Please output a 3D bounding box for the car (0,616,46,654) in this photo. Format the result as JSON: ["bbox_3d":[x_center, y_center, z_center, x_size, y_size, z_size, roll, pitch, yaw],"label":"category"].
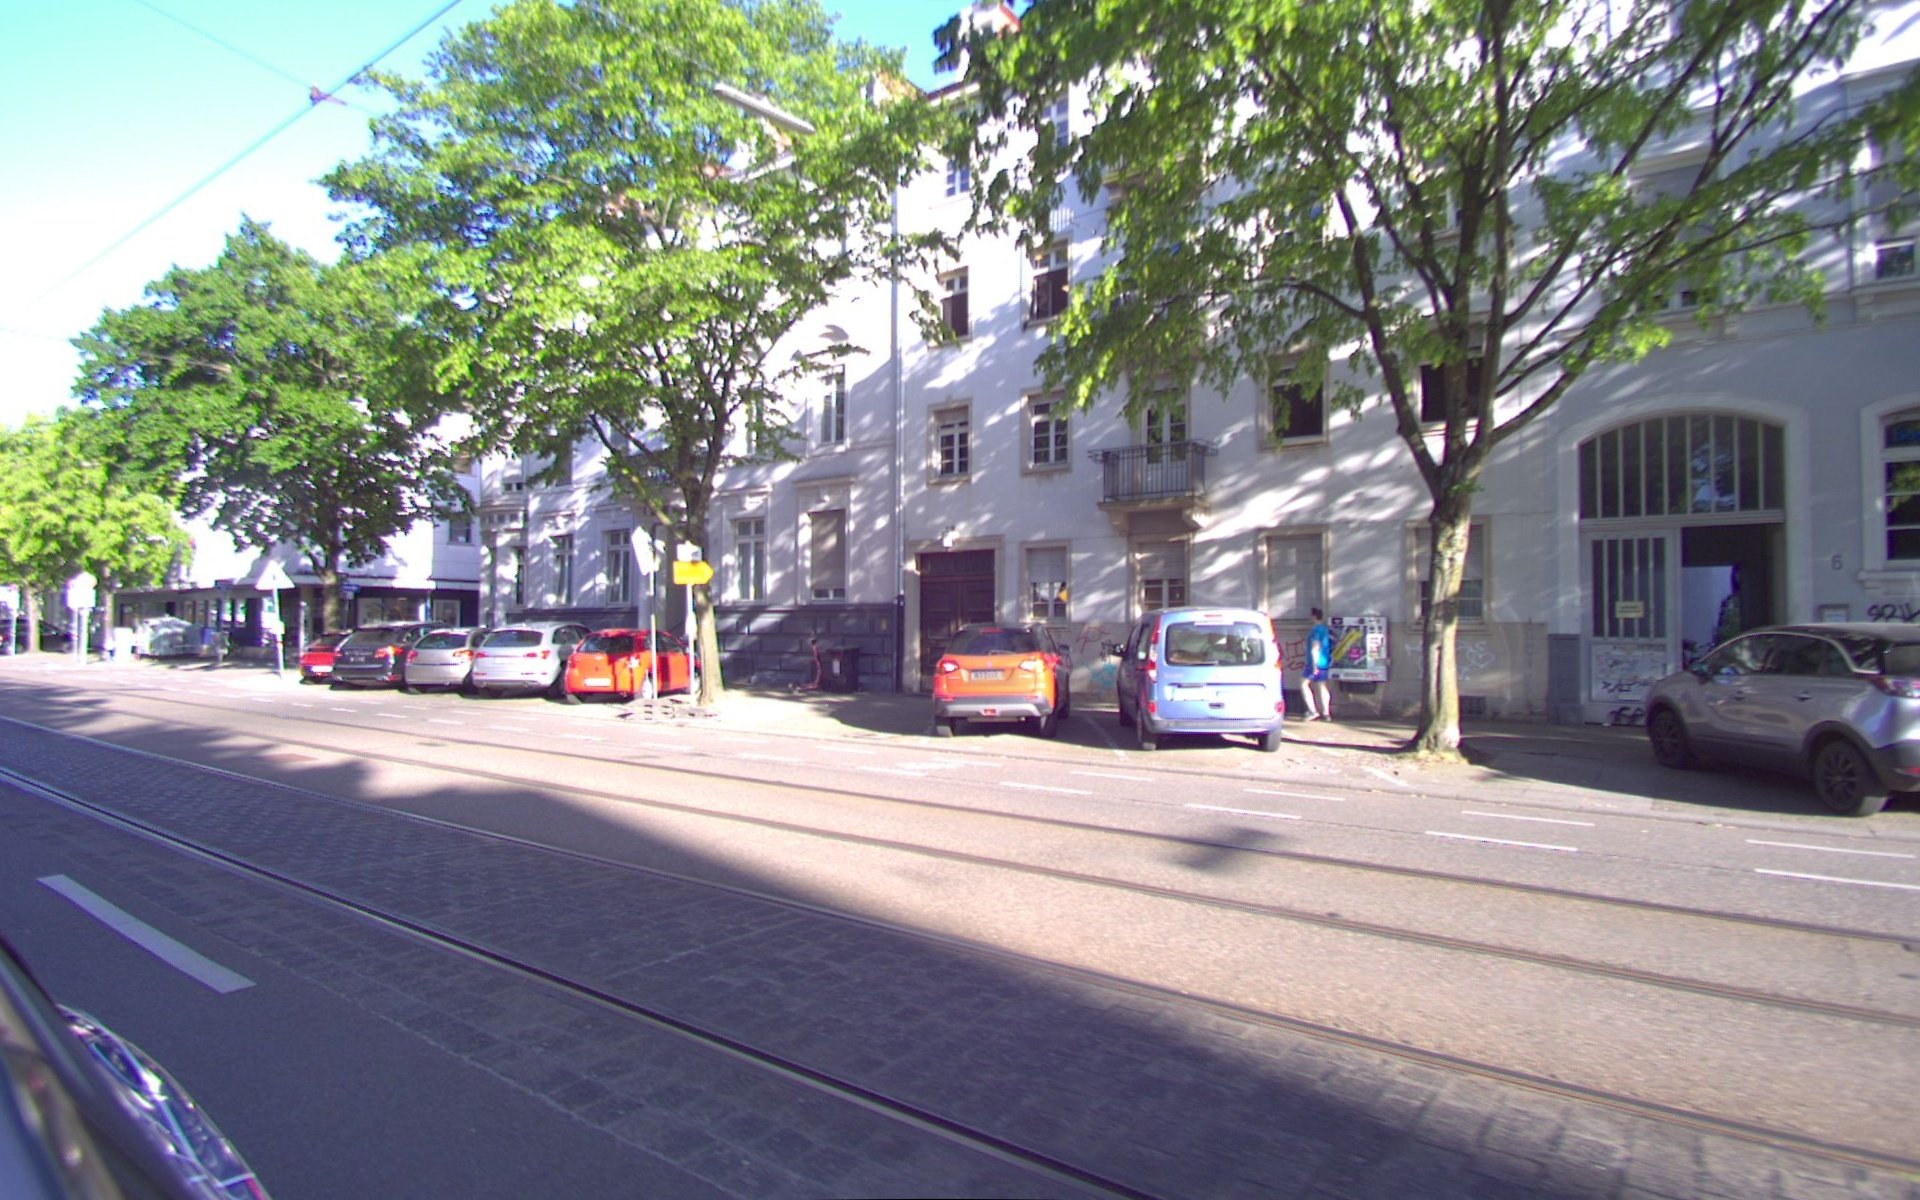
[{"bbox_3d":[-52.722,1.930,54.976,1.667,1.965,4.263,-1,0,31],"label":"car"}]

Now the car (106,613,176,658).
[{"bbox_3d":[-36.328,1.585,44.895,3.209,1.912,1.652,-1,-3,37],"label":"car"}]

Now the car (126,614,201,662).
[{"bbox_3d":[-33.290,1.588,42.304,3.209,1.912,1.652,-1,-3,37],"label":"car"}]

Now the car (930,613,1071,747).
[{"bbox_3d":[0.755,1.099,15.558,1.722,1.649,4.191,-2,0,8],"label":"car"}]

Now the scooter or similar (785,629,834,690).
[{"bbox_3d":[-3.489,1.361,23.414,1.285,1.368,0.396,-2,-3,42],"label":"scooter or similar"}]

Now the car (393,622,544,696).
[{"bbox_3d":[-11.895,1.379,24.779,1.726,1.531,3.762,0,1,3],"label":"car"}]

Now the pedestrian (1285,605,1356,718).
[{"bbox_3d":[5.616,0.938,15.767,0.870,1.709,0.635,-1,-3,42],"label":"pedestrian"}]

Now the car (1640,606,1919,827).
[{"bbox_3d":[8.363,0.894,9.472,1.752,1.667,3.861,0,0,8],"label":"car"}]

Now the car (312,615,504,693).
[{"bbox_3d":[-14.007,1.295,26.011,1.929,1.727,4.341,0,1,13],"label":"car"}]

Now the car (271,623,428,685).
[{"bbox_3d":[-16.866,1.442,28.194,1.759,1.497,3.994,0,0,5],"label":"car"}]

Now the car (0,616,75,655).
[{"bbox_3d":[-49.968,1.883,53.650,1.667,1.965,4.263,-1,0,31],"label":"car"}]

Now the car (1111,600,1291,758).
[{"bbox_3d":[3.137,0.927,14.006,1.763,1.812,4.196,0,1,4],"label":"car"}]

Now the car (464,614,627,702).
[{"bbox_3d":[-9.358,1.237,23.246,1.762,1.737,4.195,0,1,4],"label":"car"}]

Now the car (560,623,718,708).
[{"bbox_3d":[-6.794,1.319,21.869,1.621,1.570,4.191,-1,0,8],"label":"car"}]

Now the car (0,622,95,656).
[{"bbox_3d":[-47.543,1.984,52.256,1.667,1.582,4.059,-1,0,31],"label":"car"}]
